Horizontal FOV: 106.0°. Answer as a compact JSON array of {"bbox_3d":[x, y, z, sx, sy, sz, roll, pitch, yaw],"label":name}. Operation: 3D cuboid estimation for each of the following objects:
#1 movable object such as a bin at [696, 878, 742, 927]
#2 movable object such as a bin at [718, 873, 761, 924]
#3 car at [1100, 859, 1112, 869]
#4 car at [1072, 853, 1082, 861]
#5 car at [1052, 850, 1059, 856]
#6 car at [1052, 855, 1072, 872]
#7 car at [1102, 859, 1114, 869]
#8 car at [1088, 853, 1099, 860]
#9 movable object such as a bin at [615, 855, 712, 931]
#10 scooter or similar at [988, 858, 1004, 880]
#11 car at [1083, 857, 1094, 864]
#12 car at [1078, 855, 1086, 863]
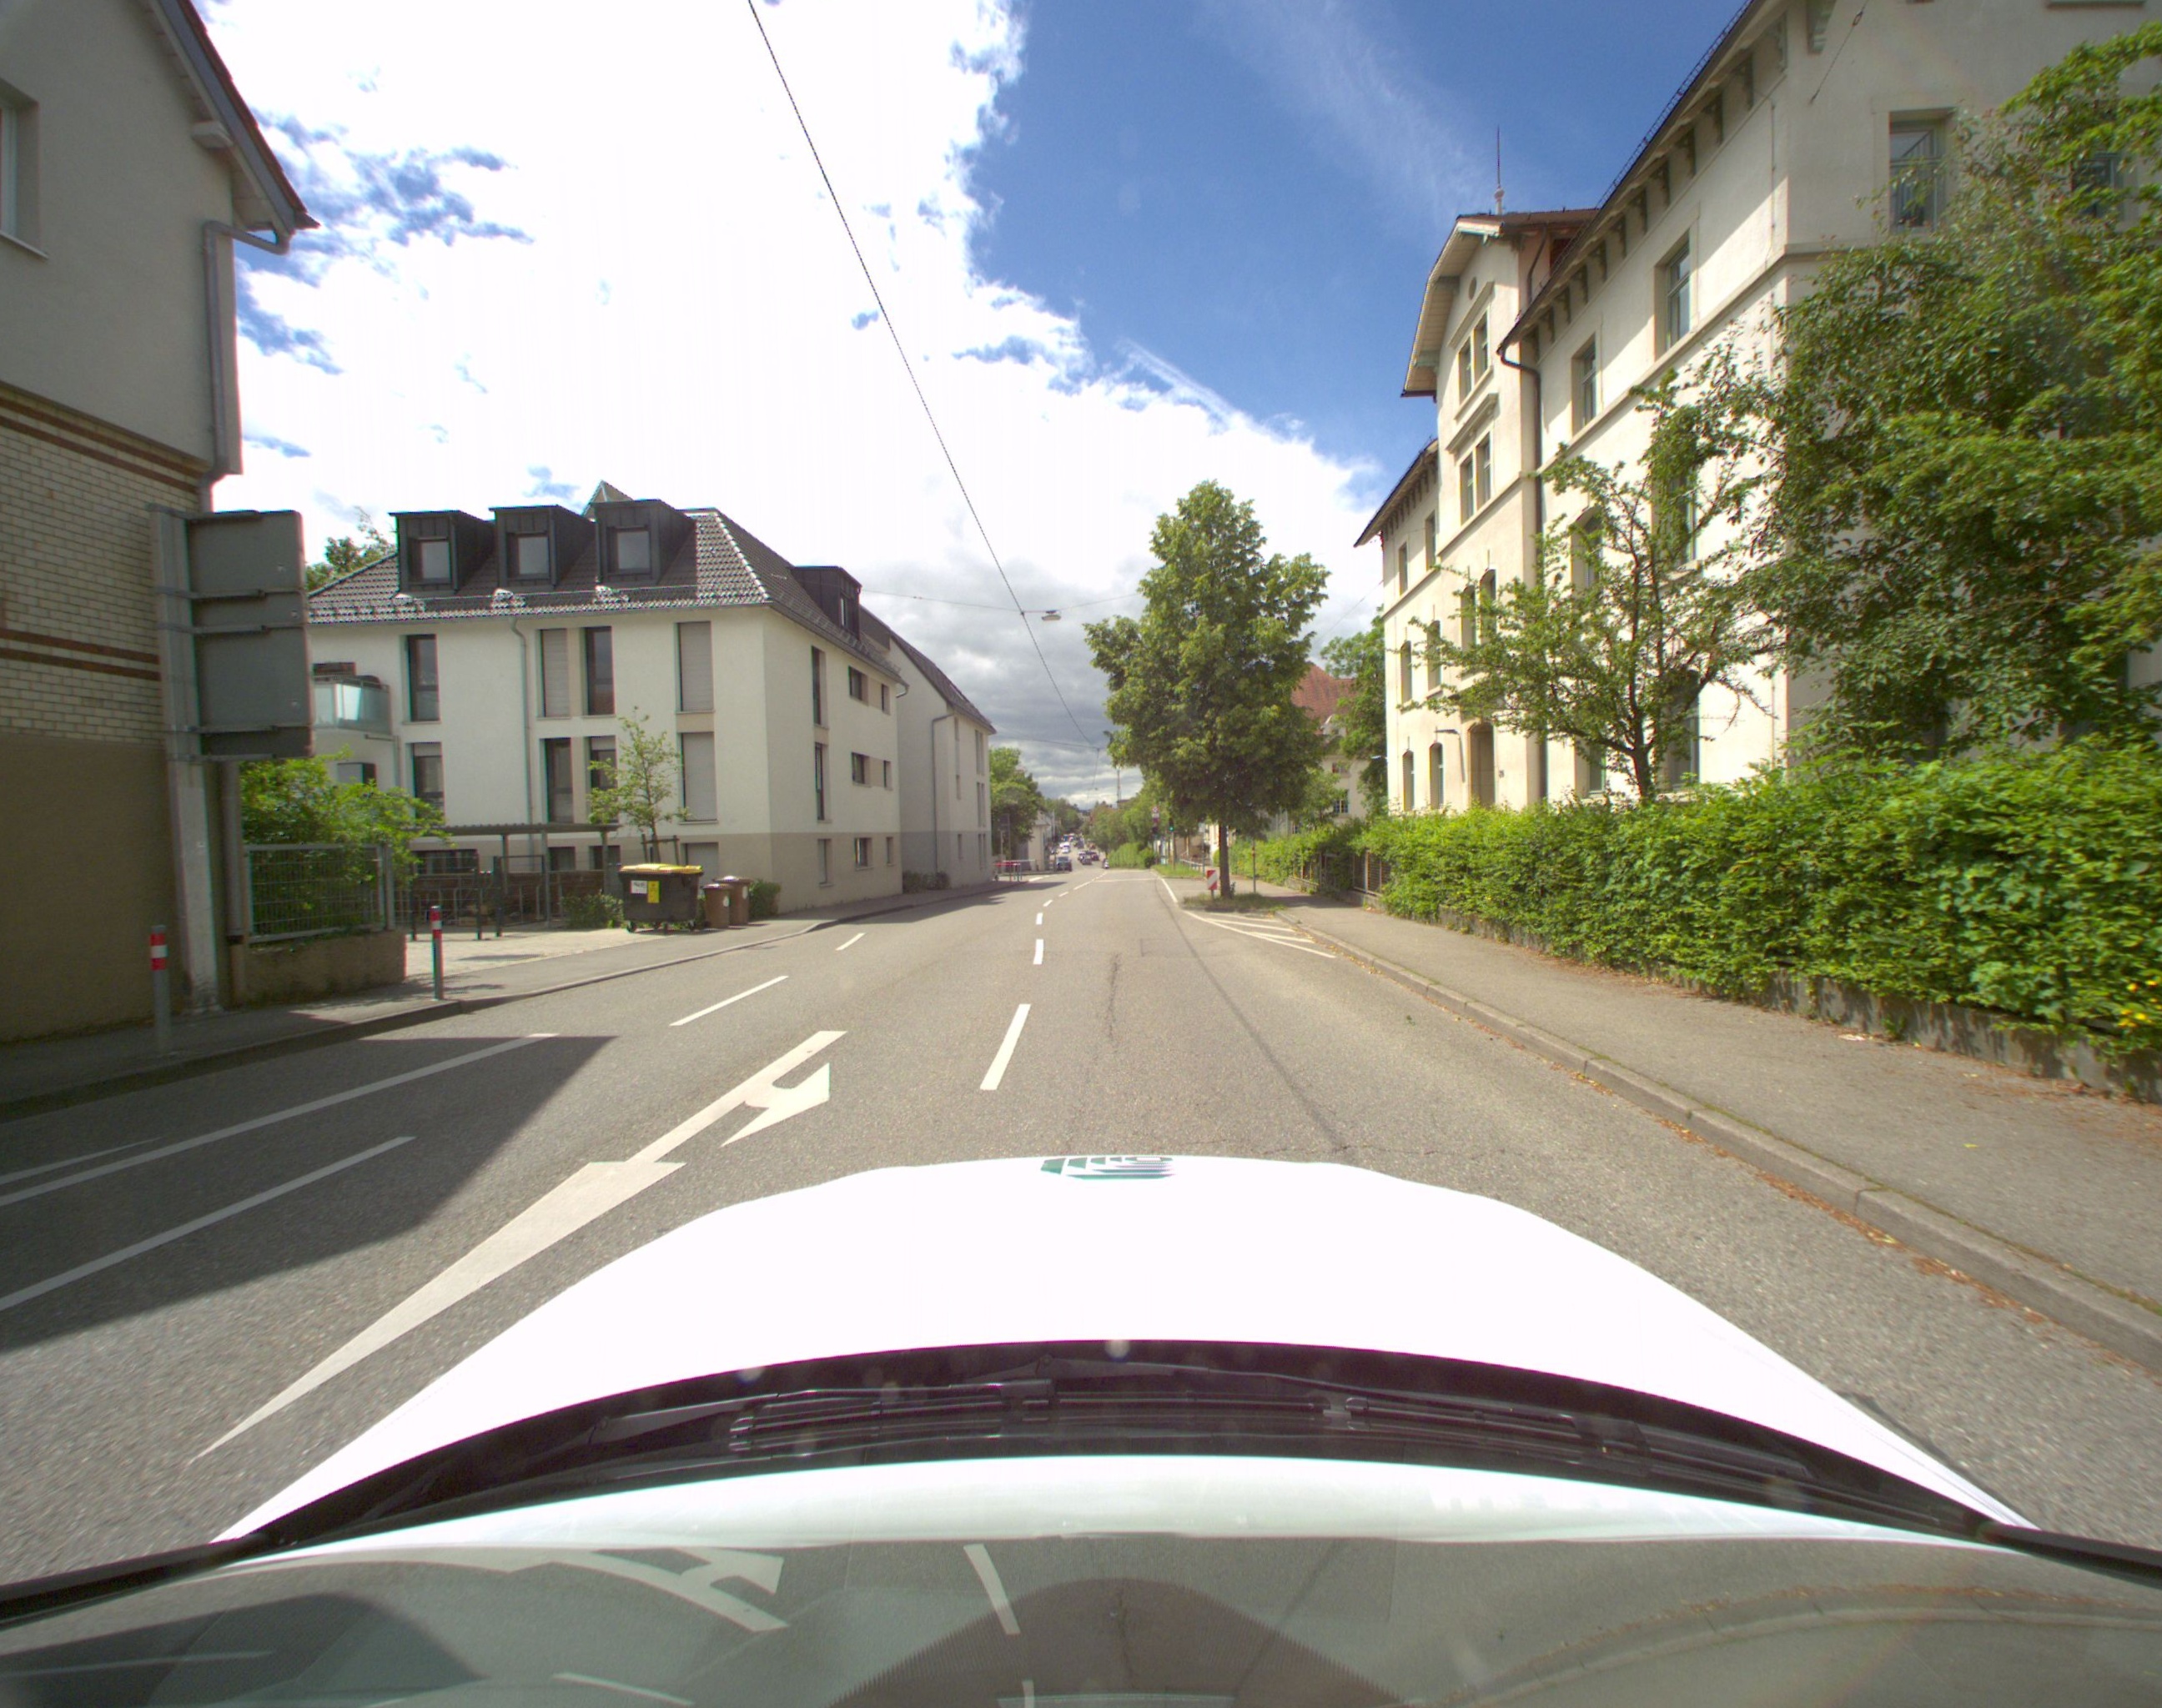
[{"bbox_3d":[-7.666,1.018,17.251,0.638,1.000,0.658,-1,0,3],"label":"movable object such as a bin"},{"bbox_3d":[-7.529,0.967,17.993,0.638,1.075,0.660,-1,0,1],"label":"movable object such as a bin"},{"bbox_3d":[4.434,1.775,144.886,1.839,1.768,4.512,-1,-1,-1],"label":"car"},{"bbox_3d":[-0.887,0.603,188.504,1.834,1.862,3.842,-1,0,-6],"label":"car"},{"bbox_3d":[-7.138,-0.367,228.510,1.866,1.640,4.001,0,0,1],"label":"car"},{"bbox_3d":[-1.867,0.937,82.373,1.789,1.610,4.646,-1,0,1],"label":"car"},{"bbox_3d":[4.535,1.688,139.018,1.781,1.509,4.362,-1,-1,-1],"label":"car"},{"bbox_3d":[2.813,0.594,185.523,1.752,1.371,3.989,-1,1,-8],"label":"car"},{"bbox_3d":[-8.455,0.766,16.550,1.330,1.446,1.170,-1,0,0],"label":"movable object such as a bin"},{"bbox_3d":[-5.043,0.864,48.061,0.492,1.261,1.296,-2,0,-26],"label":"scooter or similar"},{"bbox_3d":[1.594,1.385,169.800,1.743,1.417,3.989,-1,0,-8],"label":"car"},{"bbox_3d":[0.167,1.128,179.372,1.273,1.527,3.042,-2,3,-8],"label":"car"}]
